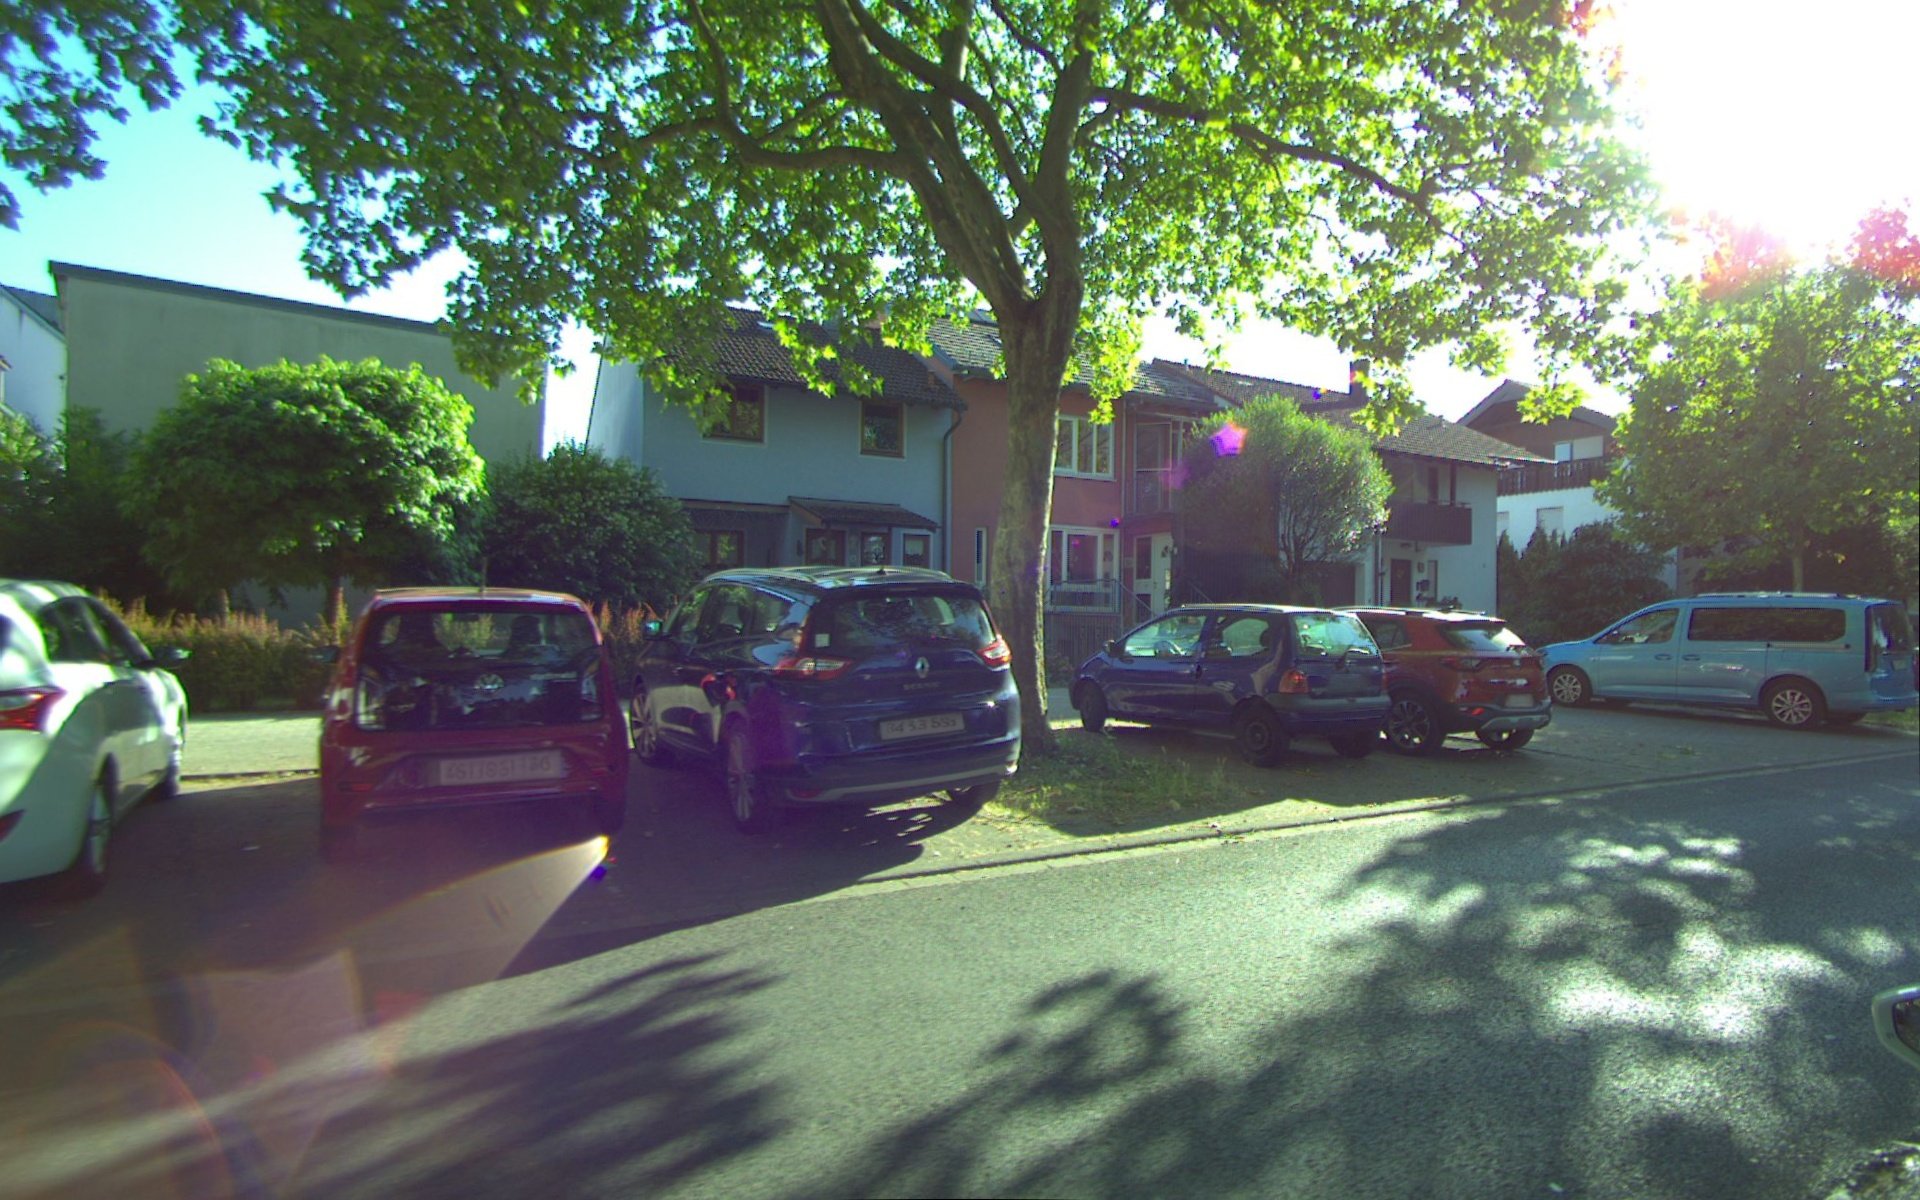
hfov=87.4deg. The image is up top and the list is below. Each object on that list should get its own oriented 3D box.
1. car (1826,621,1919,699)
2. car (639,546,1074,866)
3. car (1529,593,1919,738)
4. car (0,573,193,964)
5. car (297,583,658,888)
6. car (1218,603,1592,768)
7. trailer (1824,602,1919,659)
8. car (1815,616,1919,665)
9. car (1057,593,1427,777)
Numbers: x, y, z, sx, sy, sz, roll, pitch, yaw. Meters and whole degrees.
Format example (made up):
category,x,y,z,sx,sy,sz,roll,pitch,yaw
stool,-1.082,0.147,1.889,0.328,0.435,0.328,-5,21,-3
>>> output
category,x,y,z,sx,sy,sz,roll,pitch,yaw
car,20.067,1.220,20.103,1.646,1.538,3.852,1,-1,-31
car,-1.076,0.589,7.690,1.810,1.739,4.072,1,0,-30
car,11.381,0.847,15.253,1.973,1.848,4.363,1,0,-31
car,-5.458,0.611,5.243,1.855,1.521,4.139,1,0,-32
car,-3.431,0.680,7.019,1.733,1.503,3.741,1,0,-30
car,4.942,0.842,11.629,1.760,1.537,3.625,1,0,-29
trailer,36.992,1.196,40.033,1.622,1.952,3.439,0,4,-28
car,34.887,1.528,37.527,1.974,1.497,3.972,1,3,-26
car,2.802,0.738,10.625,1.709,1.537,3.490,1,1,-34
